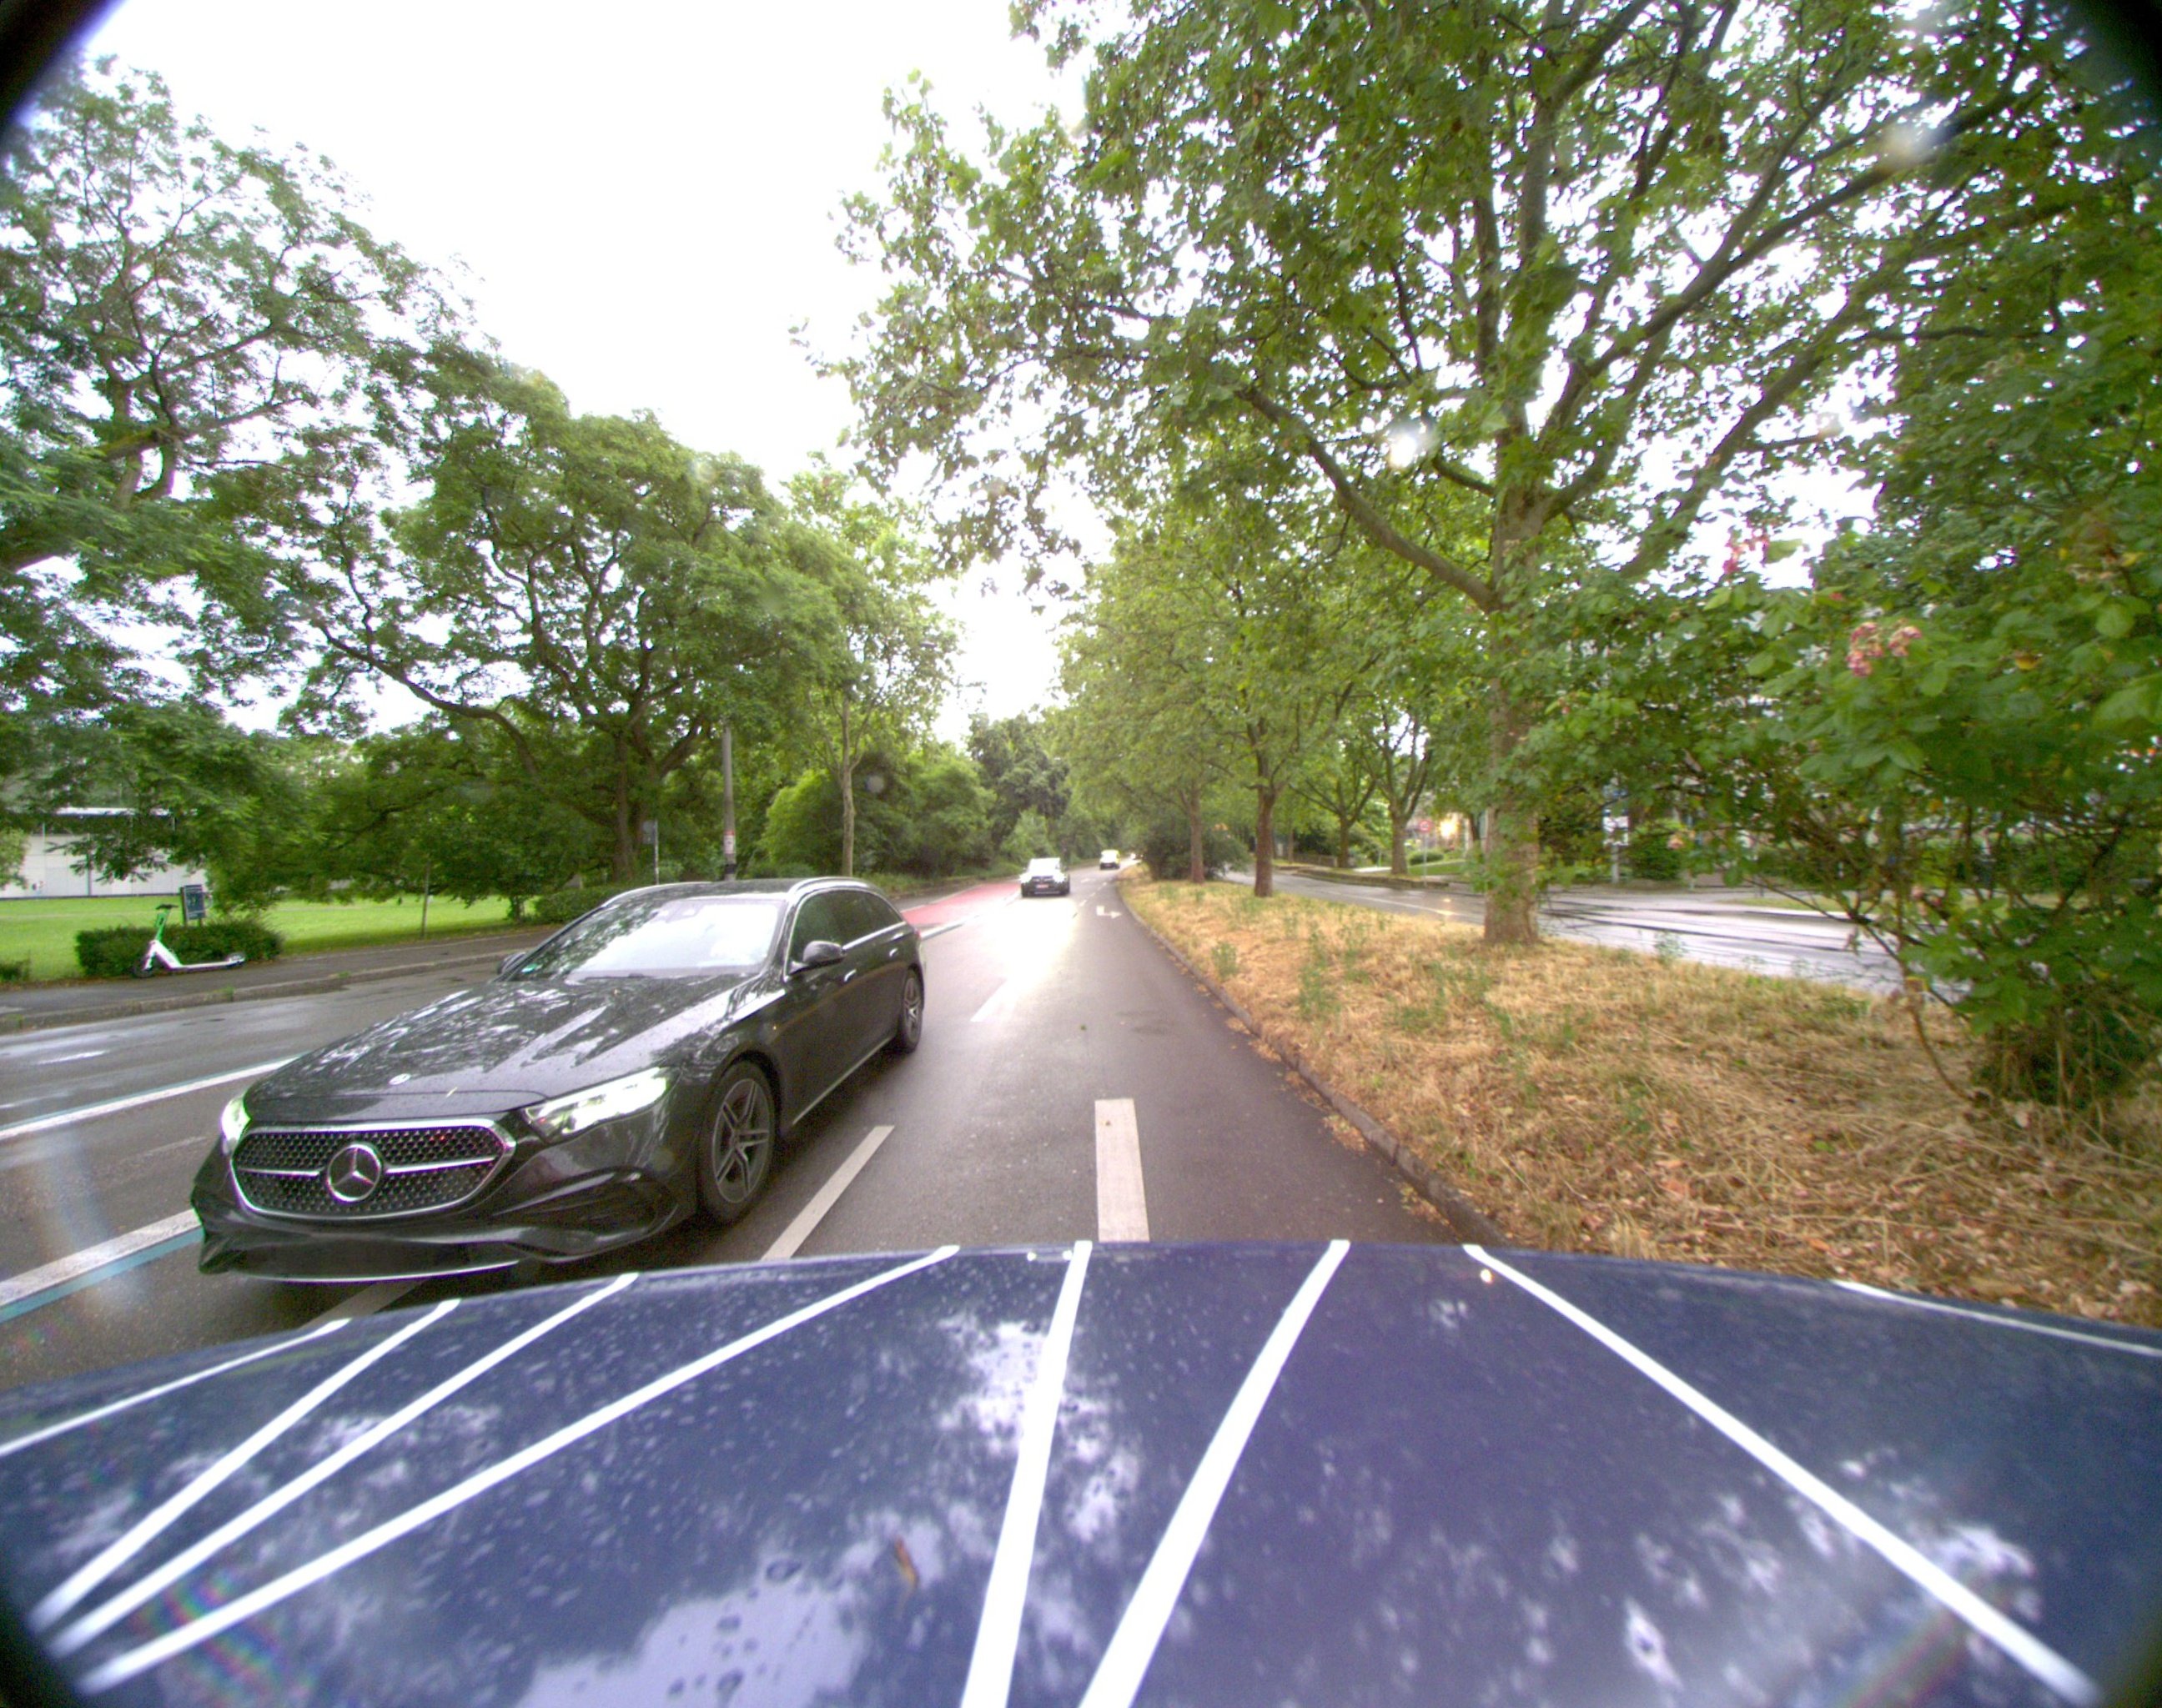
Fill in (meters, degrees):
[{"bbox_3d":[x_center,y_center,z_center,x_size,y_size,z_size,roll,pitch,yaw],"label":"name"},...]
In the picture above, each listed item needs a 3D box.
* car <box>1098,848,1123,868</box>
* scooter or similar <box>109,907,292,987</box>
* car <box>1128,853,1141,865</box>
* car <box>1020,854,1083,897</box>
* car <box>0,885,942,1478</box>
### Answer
[{"bbox_3d":[2.992,0.389,75.599,1.883,1.865,4.744,-3,0,8],"label":"car"},{"bbox_3d":[-14.549,1.495,12.634,0.557,1.095,1.894,2,0,22],"label":"scooter or similar"},{"bbox_3d":[8.423,0.745,120.185,1.906,1.766,4.002,-2,0,5],"label":"car"},{"bbox_3d":[-1.219,0.908,33.862,1.832,1.599,4.579,-2,1,10],"label":"car"},{"bbox_3d":[-2.397,1.050,4.612,1.884,1.437,4.931,-3,0,3],"label":"car"}]
